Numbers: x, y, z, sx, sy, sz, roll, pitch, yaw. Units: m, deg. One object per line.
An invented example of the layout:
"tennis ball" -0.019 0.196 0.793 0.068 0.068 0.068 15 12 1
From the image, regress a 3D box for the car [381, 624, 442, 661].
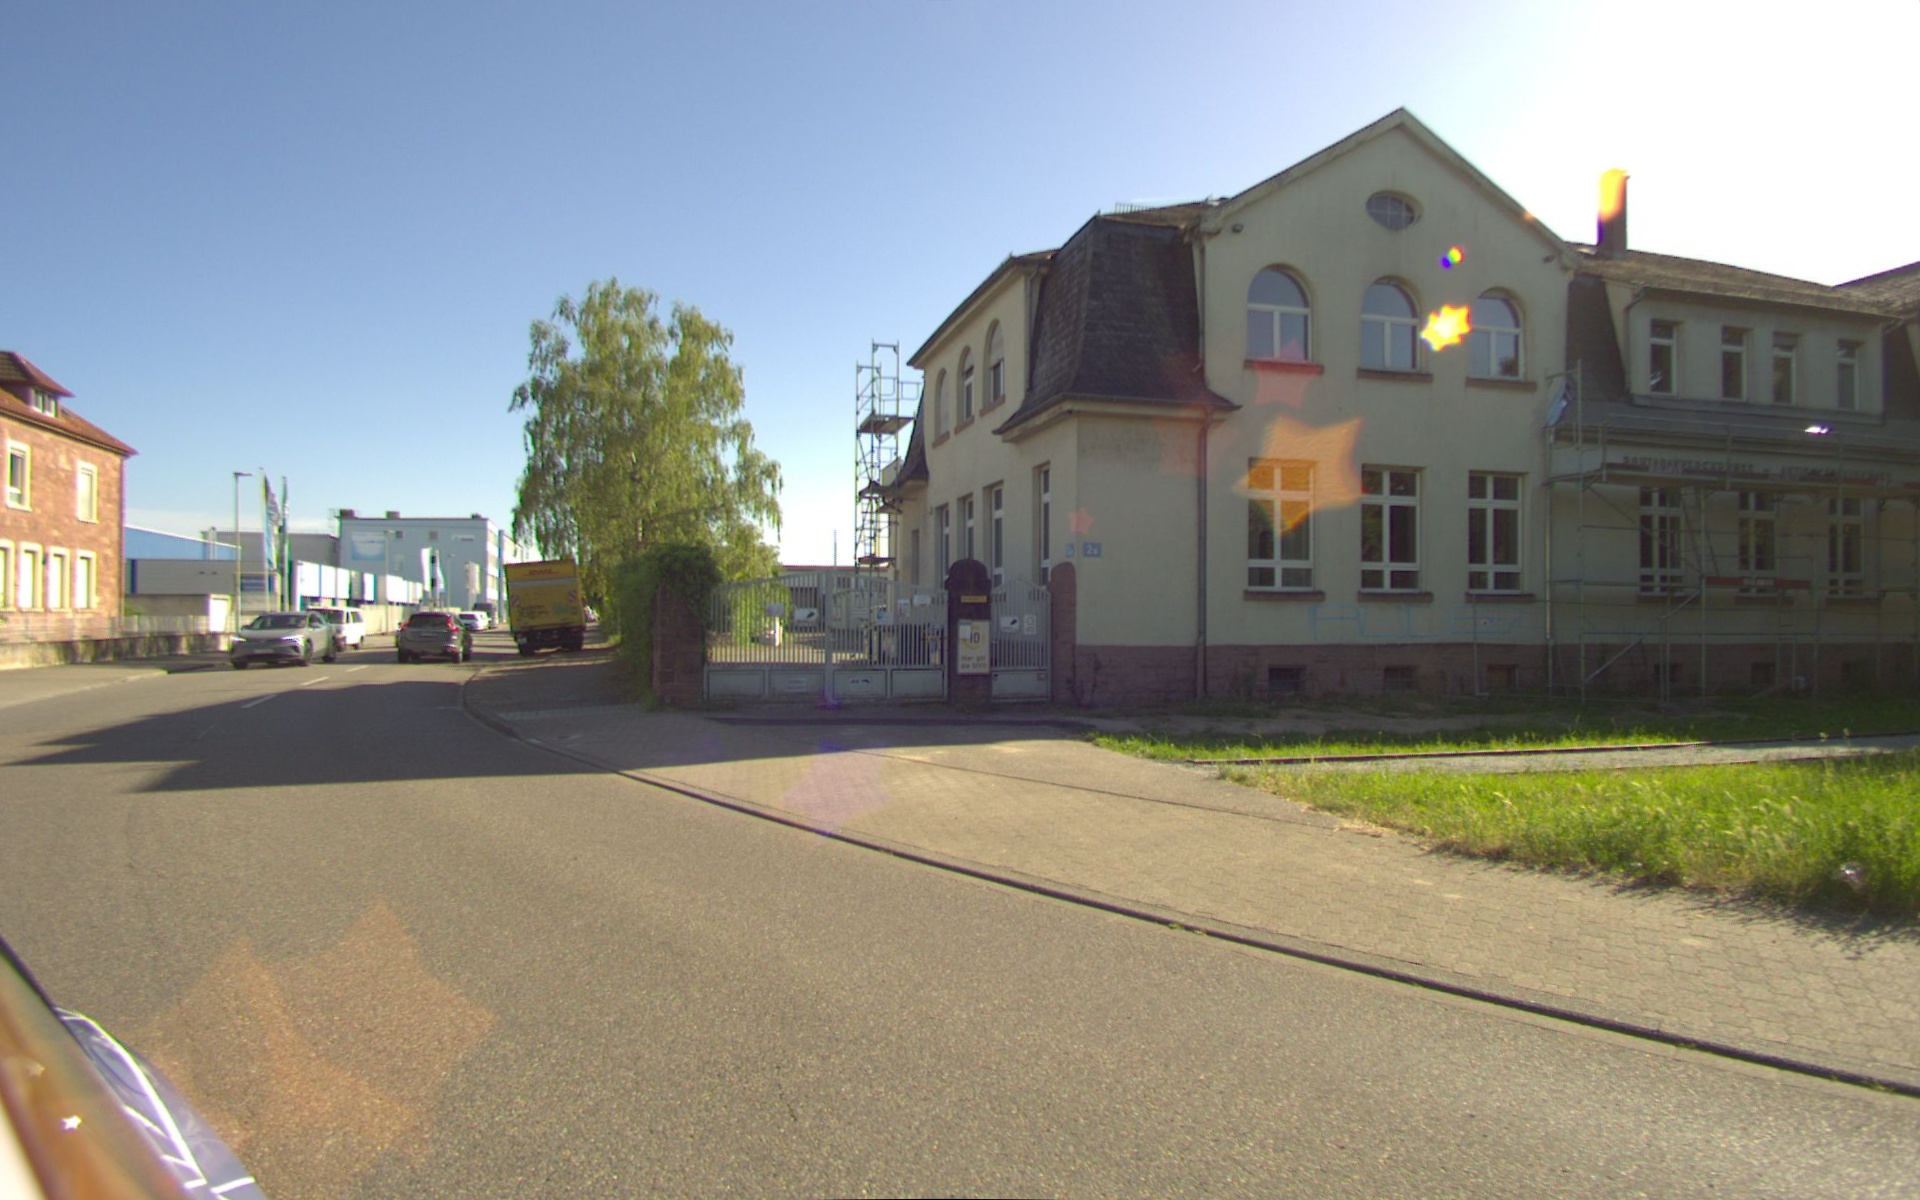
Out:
"car" -25.778 1.977 47.704 1.820 1.643 4.308 1 -2 -19

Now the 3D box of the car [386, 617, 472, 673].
"car" -17.549 1.469 33.668 1.965 1.708 4.580 1 -2 -21

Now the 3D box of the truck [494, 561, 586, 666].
"truck" -16.805 0.601 40.941 2.802 3.647 8.032 -4 0 -20

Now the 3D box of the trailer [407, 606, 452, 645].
"trailer" -38.119 1.834 72.780 2.126 2.738 4.210 1 -2 -18

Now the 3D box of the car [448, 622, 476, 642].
"car" -44.094 2.833 89.677 1.819 1.718 4.309 1 -2 -20

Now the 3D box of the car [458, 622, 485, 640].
"car" -46.477 2.960 96.360 1.819 1.643 4.309 1 -2 -20

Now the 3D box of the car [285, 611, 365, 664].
"car" -27.325 1.598 43.730 1.820 2.029 4.729 -3 -1 -19

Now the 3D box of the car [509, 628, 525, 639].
"car" -64.697 4.900 147.941 1.819 1.643 4.309 1 -2 -20

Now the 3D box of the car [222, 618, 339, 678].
"car" -20.207 1.408 30.289 1.820 1.643 4.308 1 -2 -19
